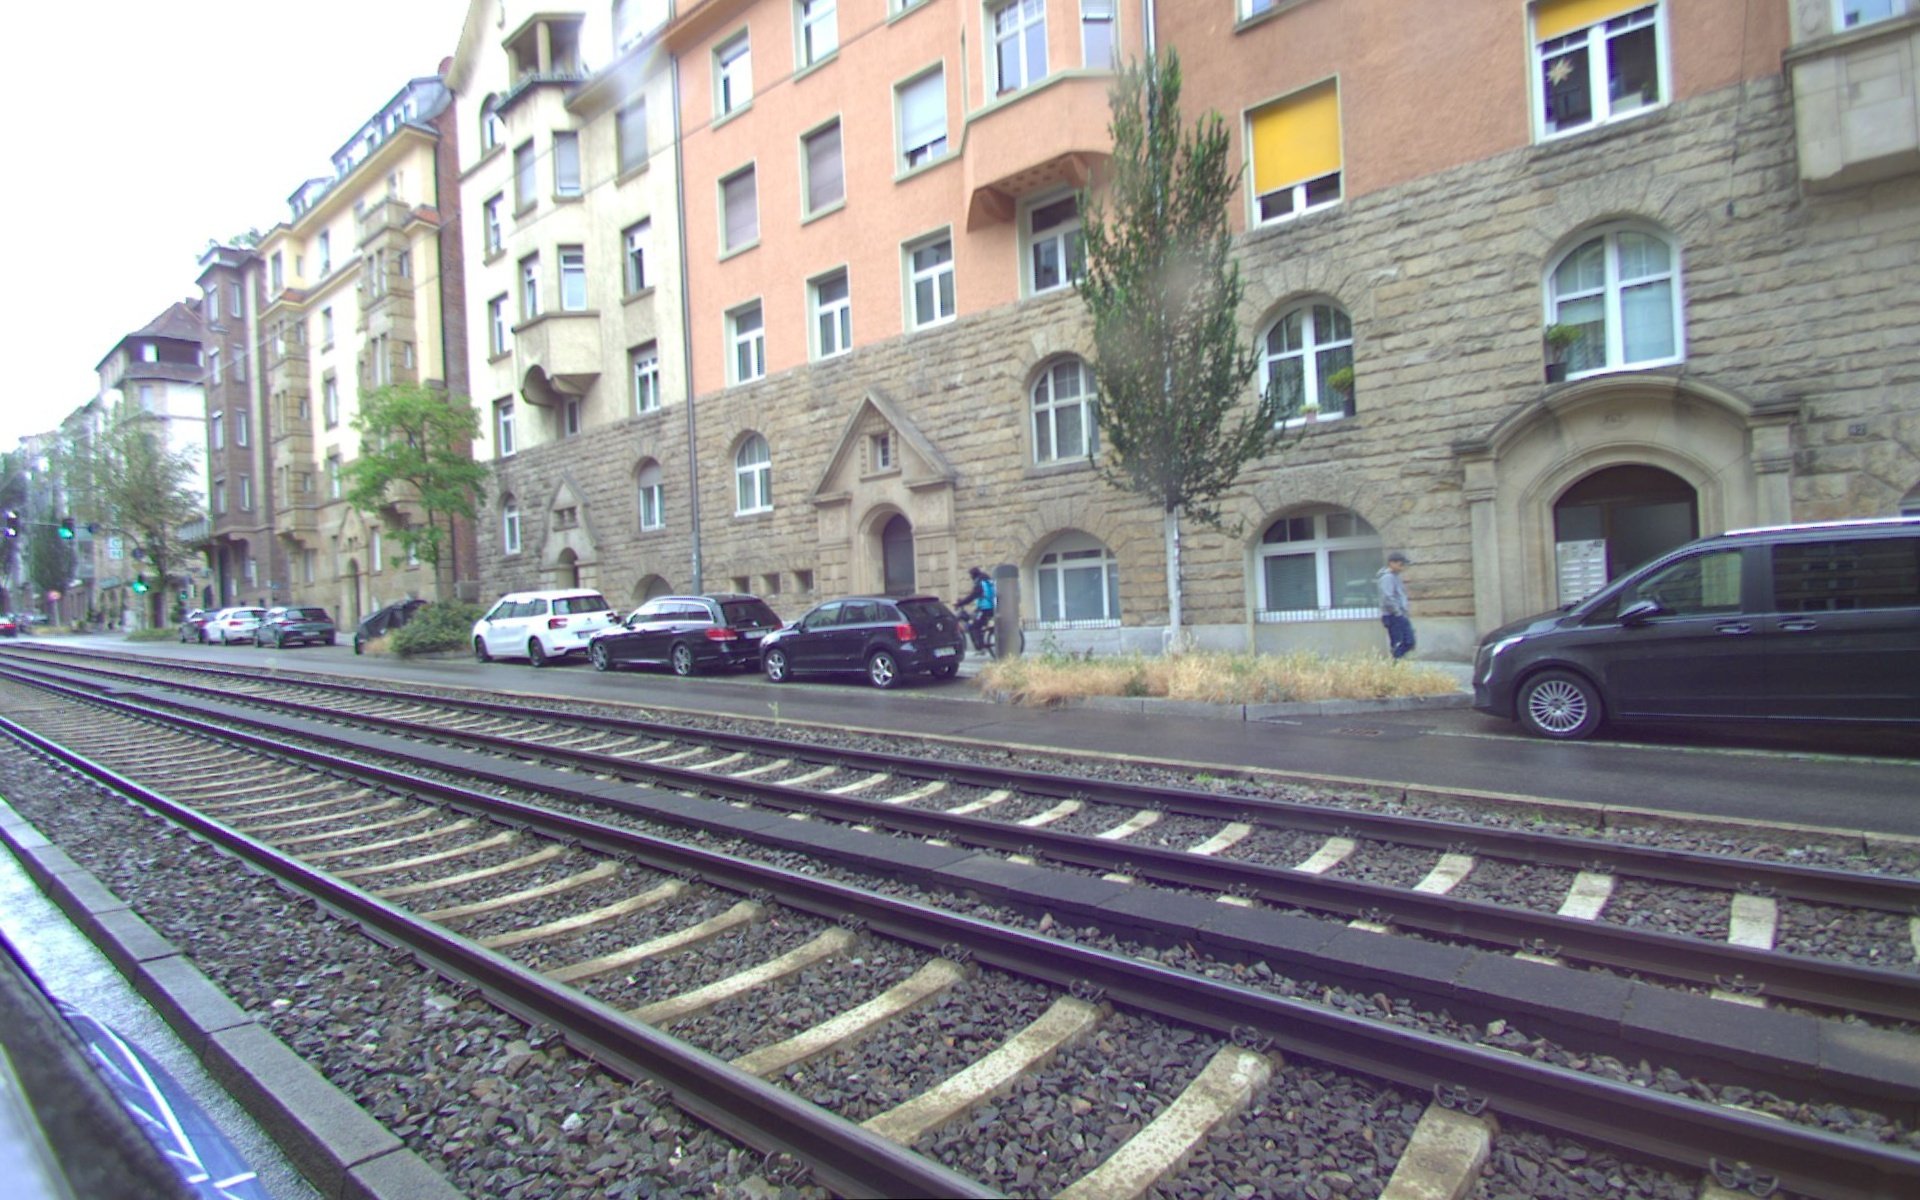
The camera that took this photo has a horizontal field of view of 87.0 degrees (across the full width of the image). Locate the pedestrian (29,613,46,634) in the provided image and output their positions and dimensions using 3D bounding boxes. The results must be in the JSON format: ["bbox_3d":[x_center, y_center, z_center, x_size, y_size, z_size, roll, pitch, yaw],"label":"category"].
[{"bbox_3d":[-85.694,2.185,94.036,1.163,1.972,1.042,-1,0,43],"label":"pedestrian"}]

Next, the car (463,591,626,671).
[{"bbox_3d":[-9.736,0.700,23.589,4.144,1.668,1.843,-1,0,41],"label":"car"}]

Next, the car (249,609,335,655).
[{"bbox_3d":[-23.675,1.095,35.837,3.845,1.452,1.656,-1,1,43],"label":"car"}]

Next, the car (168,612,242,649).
[{"bbox_3d":[-32.136,1.266,43.062,3.843,1.452,1.748,-1,0,41],"label":"car"}]

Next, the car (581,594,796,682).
[{"bbox_3d":[-5.428,0.695,19.916,4.599,1.506,1.824,-1,0,41],"label":"car"}]

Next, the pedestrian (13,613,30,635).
[{"bbox_3d":[-86.417,2.191,93.182,1.163,1.972,1.042,-1,0,43],"label":"pedestrian"}]

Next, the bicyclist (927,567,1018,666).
[{"bbox_3d":[0.224,0.272,17.919,1.254,1.608,0.875,-1,5,43],"label":"bicyclist"}]

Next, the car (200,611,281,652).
[{"bbox_3d":[-28.277,1.211,39.739,4.030,1.452,1.748,-1,1,42],"label":"car"}]

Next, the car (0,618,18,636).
[{"bbox_3d":[-80.914,2.293,85.383,3.843,1.527,1.748,-1,0,41],"label":"car"}]

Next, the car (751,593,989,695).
[{"bbox_3d":[-1.546,0.667,16.895,3.638,1.508,1.912,-1,0,38],"label":"car"}]

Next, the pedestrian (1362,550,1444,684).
[{"bbox_3d":[5.742,0.201,13.122,0.765,1.654,0.692,-1,2,41],"label":"pedestrian"}]

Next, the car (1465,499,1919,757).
[{"bbox_3d":[7.357,0.212,8.962,4.823,1.956,1.973,-1,0,41],"label":"car"}]

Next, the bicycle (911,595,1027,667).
[{"bbox_3d":[0.134,0.536,18.058,2.038,1.195,0.814,-1,0,44],"label":"bicycle"}]

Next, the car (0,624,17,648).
[{"bbox_3d":[-64.516,2.386,67.577,4.962,1.535,1.784,-1,0,41],"label":"car"}]

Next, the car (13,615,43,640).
[{"bbox_3d":[-69.037,1.995,74.946,1.561,1.691,3.794,-2,2,-43],"label":"car"}]
